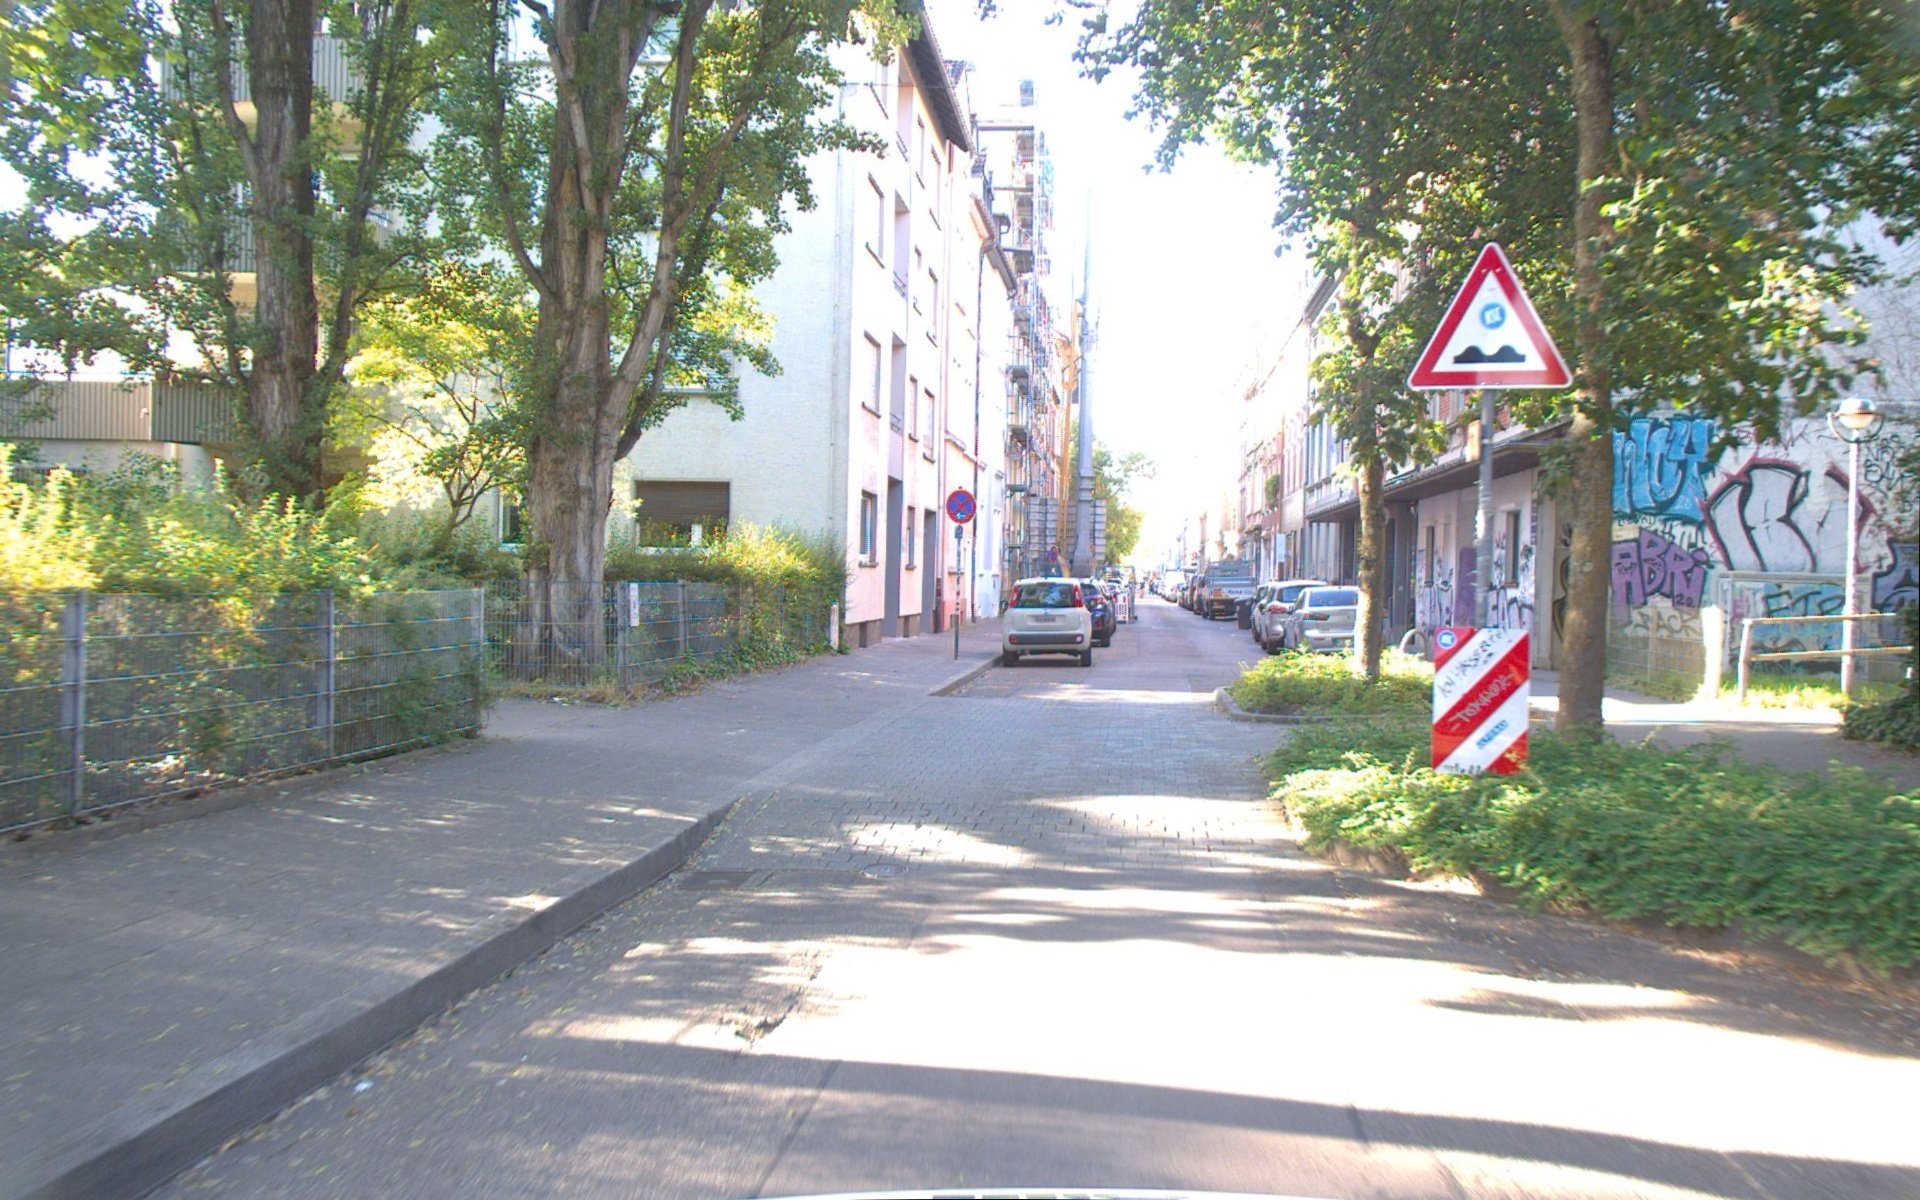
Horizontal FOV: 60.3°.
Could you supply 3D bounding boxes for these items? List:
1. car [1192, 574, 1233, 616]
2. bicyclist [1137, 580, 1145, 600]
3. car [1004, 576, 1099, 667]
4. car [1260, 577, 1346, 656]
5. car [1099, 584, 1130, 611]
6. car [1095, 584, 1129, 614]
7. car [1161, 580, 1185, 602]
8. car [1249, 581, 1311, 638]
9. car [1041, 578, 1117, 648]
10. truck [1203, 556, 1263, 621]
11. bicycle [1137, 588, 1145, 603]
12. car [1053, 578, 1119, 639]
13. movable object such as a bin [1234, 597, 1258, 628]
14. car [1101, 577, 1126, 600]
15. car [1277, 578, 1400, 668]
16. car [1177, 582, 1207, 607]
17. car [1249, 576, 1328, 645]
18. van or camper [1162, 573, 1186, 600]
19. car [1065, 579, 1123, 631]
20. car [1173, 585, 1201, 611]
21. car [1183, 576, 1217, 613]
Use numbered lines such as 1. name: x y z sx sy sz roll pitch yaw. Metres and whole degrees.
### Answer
1. car: 12.370 -0.260 81.114 1.639 1.997 4.111 1 0 4
2. bicyclist: 15.948 -0.892 145.667 0.715 1.792 0.836 2 1 6
3. car: 1.724 0.362 30.592 1.639 1.566 3.871 0 0 4
4. car: 7.812 0.343 37.919 1.605 1.685 3.872 1 0 7
5. car: 8.594 -0.142 92.060 1.639 1.470 3.871 1 0 4
6. car: 7.630 -0.065 83.290 1.639 1.470 3.871 1 0 4
7. car: 18.763 -0.801 145.807 1.951 1.881 4.003 0 0 5
8. car: 9.379 0.255 48.696 1.563 1.587 3.817 0 0 8
9. car: 2.816 0.281 39.359 1.693 1.566 4.380 -1 0 4
10. truck: 11.602 -0.506 70.625 2.143 2.652 5.237 0 0 5
11. bicycle: 15.916 -0.394 145.530 0.709 1.207 2.044 2 1 6
12. car: 3.415 0.212 44.245 1.639 1.538 4.418 1 0 6
13. movable object such as a bin: 10.107 0.444 58.448 0.778 1.074 0.660 1 0 6
14. car: 12.654 -0.928 136.429 1.951 1.881 4.003 0 0 5
15. car: 7.191 0.399 31.802 1.685 1.589 4.401 1 0 5
16. car: 14.999 -0.358 106.853 1.639 1.598 3.871 1 0 4
17. car: 8.566 0.246 43.441 1.709 1.705 4.344 1 0 7
18. van or camper: 20.680 -1.306 159.769 1.952 2.552 4.203 0 0 2
19. car: 4.142 0.130 50.615 1.639 1.503 4.611 1 0 6
20. car: 17.982 -0.182 131.257 1.951 2.049 4.003 1 1 5
21. car: 13.558 -0.305 93.555 1.639 2.066 3.871 0 0 4
